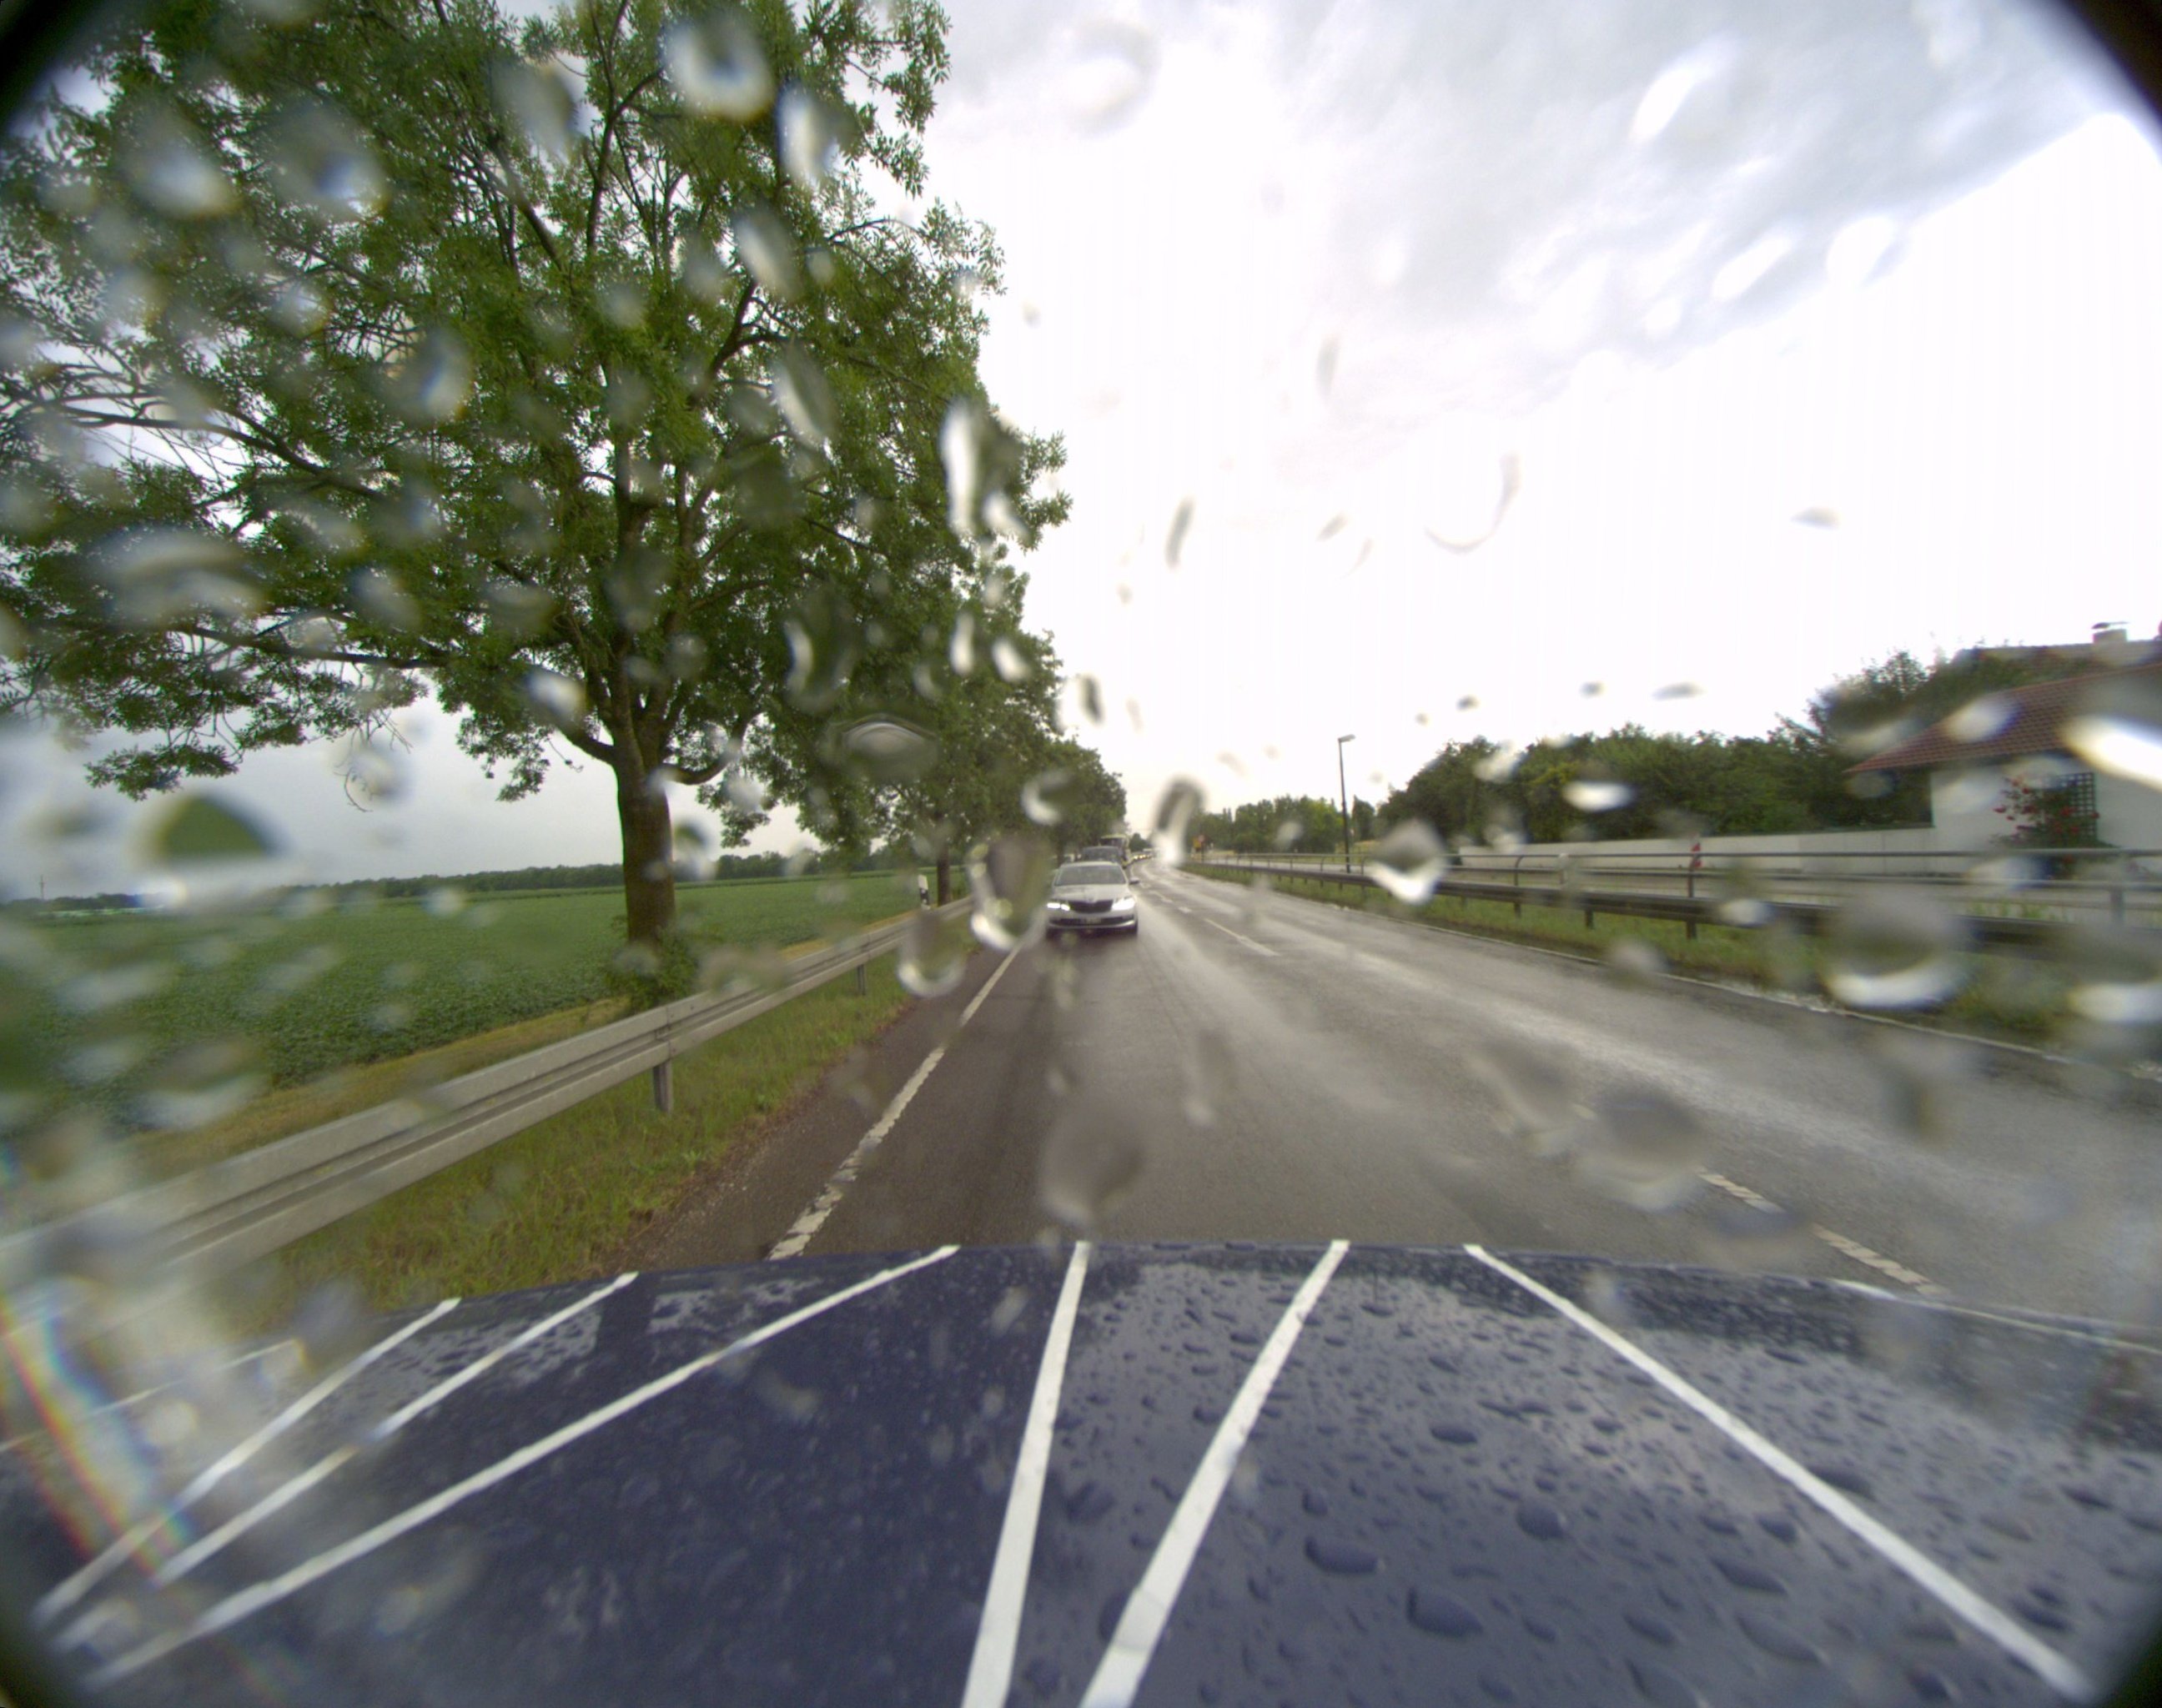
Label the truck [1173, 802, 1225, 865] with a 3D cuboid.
[{"bbox_3d":[10.247,-1.704,66.893,3.256,5.004,7.783,-4,0,1],"label":"truck"}]

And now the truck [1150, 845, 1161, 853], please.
[{"bbox_3d":[23.739,-1.512,242.007,2.800,2.461,7.169,-3,0,3],"label":"truck"}]

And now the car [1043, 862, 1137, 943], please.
[{"bbox_3d":[0.152,0.918,16.090,1.705,1.438,3.999,-1,0,-1],"label":"car"}]

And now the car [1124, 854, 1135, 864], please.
[{"bbox_3d":[7.756,0.780,121.182,1.690,1.572,3.784,-3,0,3],"label":"car"}]

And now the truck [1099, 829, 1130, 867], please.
[{"bbox_3d":[3.446,-0.626,79.422,2.751,3.547,8.386,-3,0,1],"label":"truck"}]

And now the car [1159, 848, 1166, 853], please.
[{"bbox_3d":[27.399,-1.250,256.001,1.812,1.723,4.026,-4,0,0],"label":"car"}]

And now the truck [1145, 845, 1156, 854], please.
[{"bbox_3d":[19.434,-1.201,213.041,2.800,2.461,7.169,-3,0,3],"label":"truck"}]

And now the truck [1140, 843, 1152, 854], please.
[{"bbox_3d":[16.658,-1.402,194.931,2.800,2.461,7.169,-3,0,3],"label":"truck"}]

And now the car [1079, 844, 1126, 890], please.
[{"bbox_3d":[0.894,0.539,33.584,1.903,1.884,3.999,-1,0,-1],"label":"car"}]

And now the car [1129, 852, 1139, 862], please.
[{"bbox_3d":[9.682,0.532,138.326,1.690,1.572,3.784,-3,0,3],"label":"car"}]
